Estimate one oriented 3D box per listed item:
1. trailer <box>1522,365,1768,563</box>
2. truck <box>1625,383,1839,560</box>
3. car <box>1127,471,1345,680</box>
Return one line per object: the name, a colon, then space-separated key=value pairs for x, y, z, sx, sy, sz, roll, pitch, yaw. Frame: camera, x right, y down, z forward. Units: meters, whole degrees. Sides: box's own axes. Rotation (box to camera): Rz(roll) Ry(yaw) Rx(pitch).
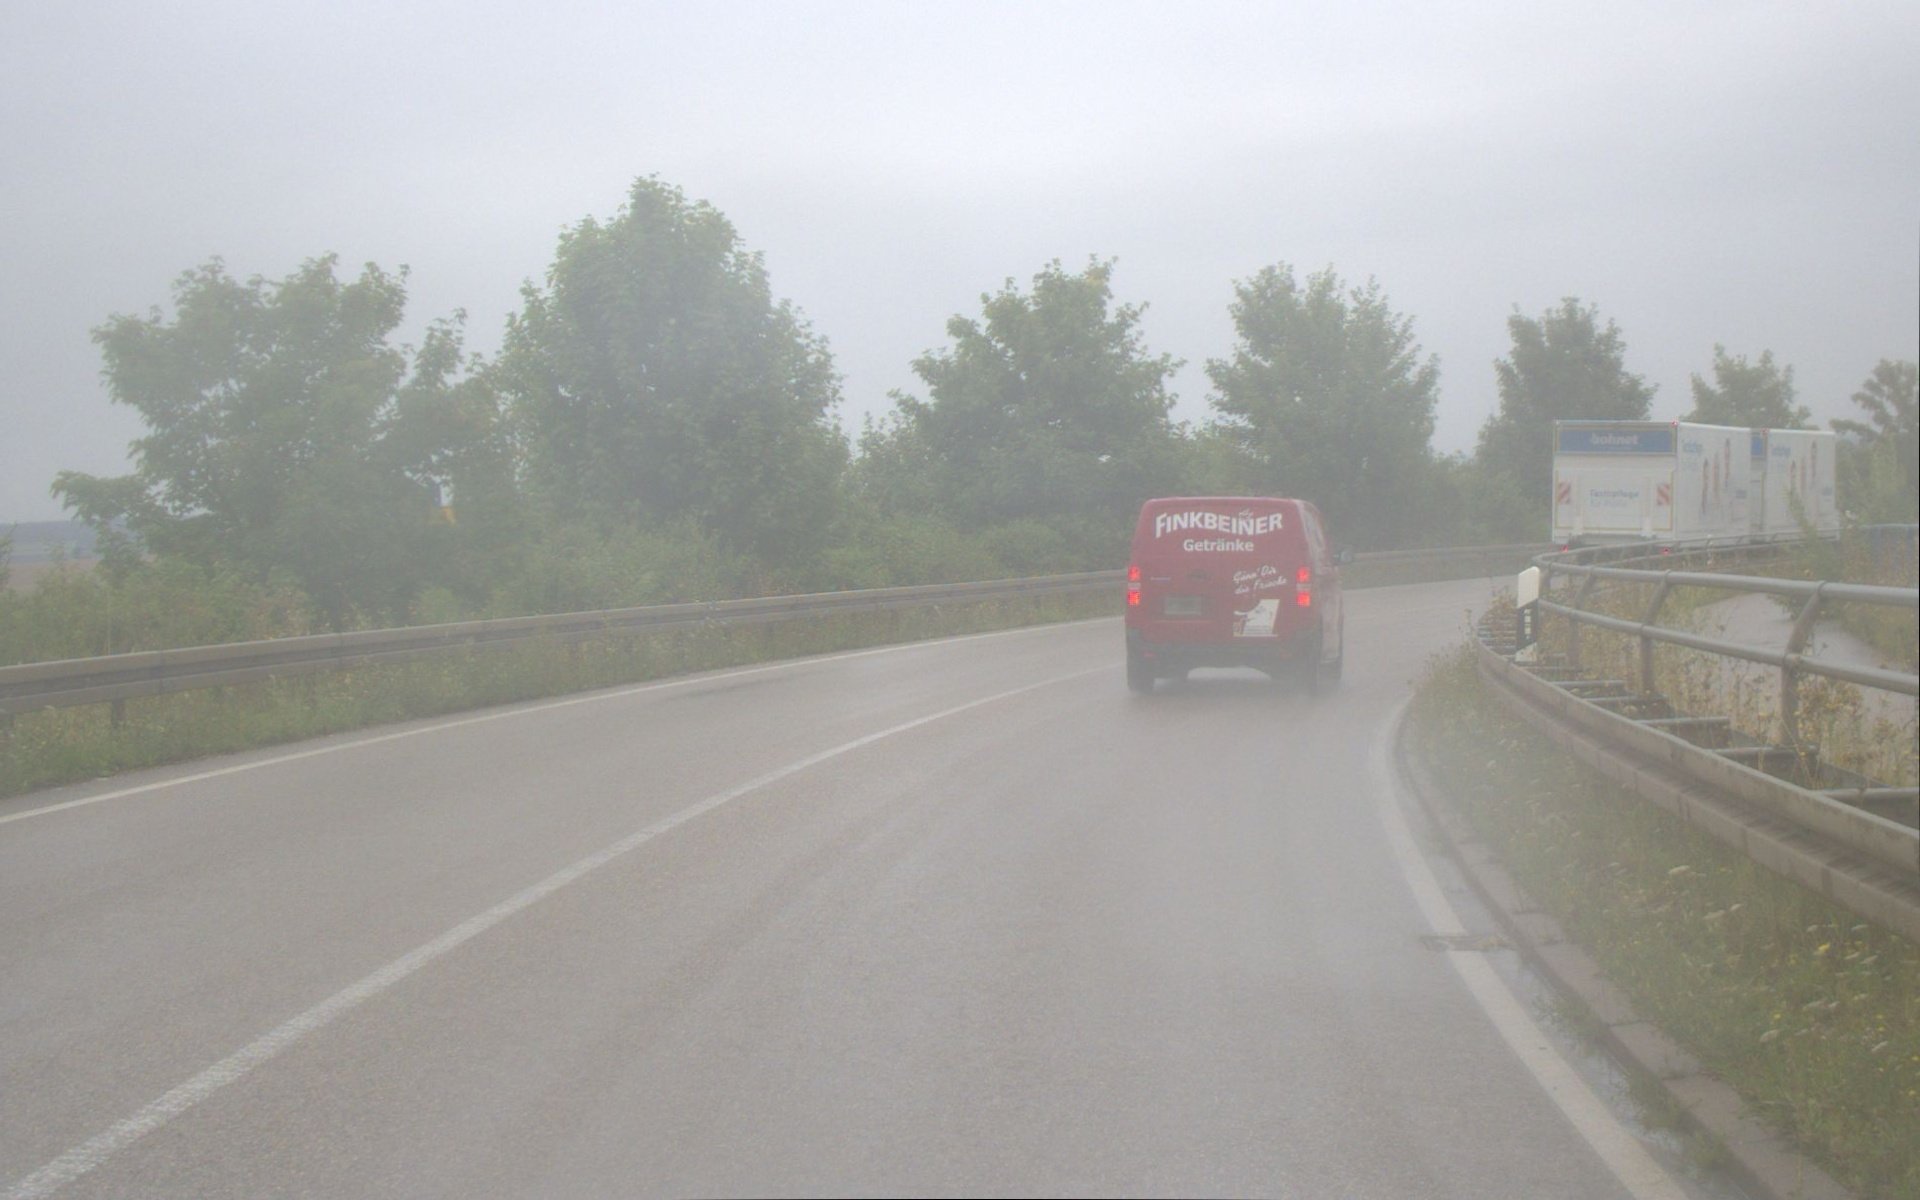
trailer: x=14.597 y=-2.787 z=72.675 sx=3.205 sy=3.908 sz=8.728 roll=1 pitch=1 yaw=24
truck: x=18.209 y=-2.943 z=80.640 sx=3.205 sy=3.908 sz=8.728 roll=1 pitch=1 yaw=24
car: x=2.703 y=-0.291 z=34.313 sx=1.994 sy=1.919 sz=4.143 roll=-1 pitch=2 yaw=3
